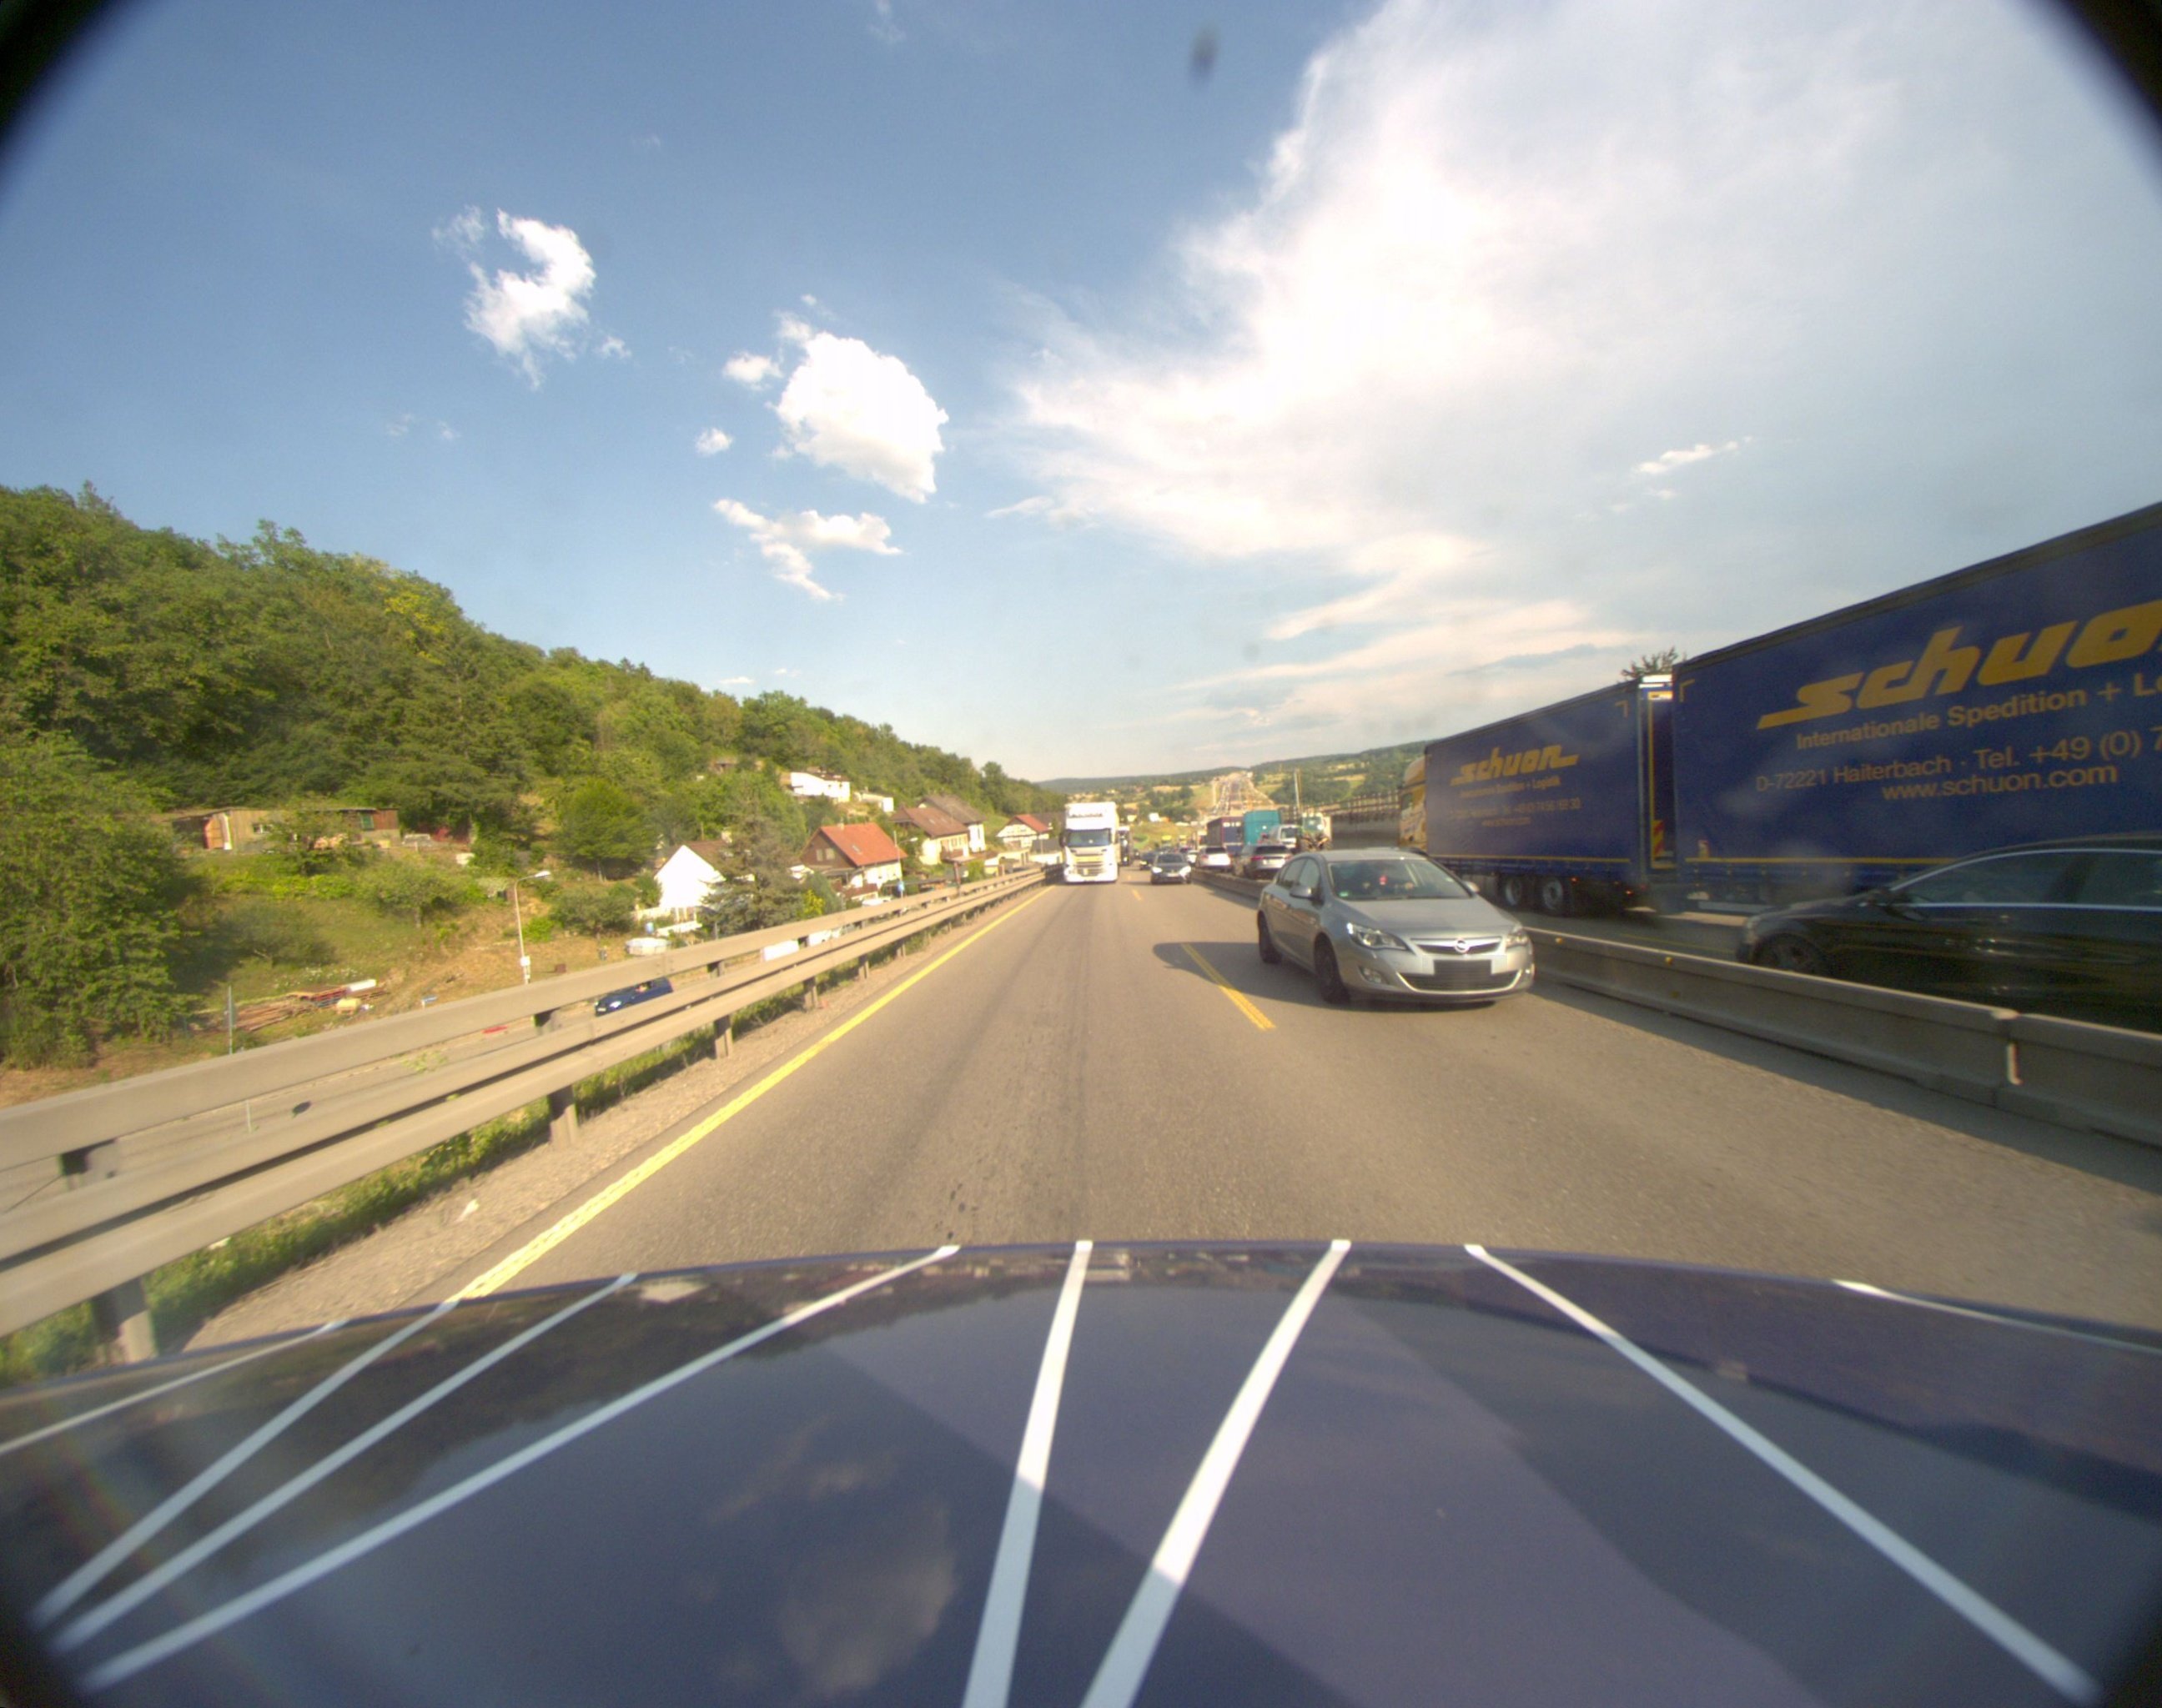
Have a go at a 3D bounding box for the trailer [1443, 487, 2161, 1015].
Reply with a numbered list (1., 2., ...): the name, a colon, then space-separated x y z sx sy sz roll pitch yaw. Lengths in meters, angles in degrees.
1. trailer: 9.898 -0.922 9.937 2.721 4.111 16.749 -1 1 1

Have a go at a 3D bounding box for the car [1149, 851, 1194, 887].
1. car: 4.070 0.620 34.592 1.822 1.433 4.001 -3 0 5

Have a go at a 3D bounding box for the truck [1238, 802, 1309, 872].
1. truck: 11.272 -0.994 45.250 2.755 3.784 7.112 -1 1 3

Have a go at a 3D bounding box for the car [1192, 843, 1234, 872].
1. car: 8.338 0.181 48.291 1.964 1.635 4.847 -1 1 2

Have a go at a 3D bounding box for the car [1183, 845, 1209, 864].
1. car: 9.743 -0.013 64.753 1.807 1.513 4.817 0 1 4

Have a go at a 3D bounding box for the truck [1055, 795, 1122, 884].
1. truck: 0.704 -0.832 41.838 2.892 4.059 13.893 -1 1 3

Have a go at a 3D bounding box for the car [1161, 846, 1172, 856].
1. car: 14.987 -0.525 132.932 1.778 1.448 4.815 -3 2 6

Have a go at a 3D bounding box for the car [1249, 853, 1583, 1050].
1. car: 3.140 0.782 8.138 1.810 1.478 4.118 -2 1 1

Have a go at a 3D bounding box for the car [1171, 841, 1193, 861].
1. car: 10.505 -0.310 79.355 1.827 1.922 5.130 1 2 3

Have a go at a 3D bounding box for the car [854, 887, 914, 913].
1. car: -19.995 4.654 77.142 5.475 2.251 2.001 -3 3 12

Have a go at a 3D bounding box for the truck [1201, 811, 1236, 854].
1. truck: 13.420 -2.095 74.726 2.755 4.091 5.031 -1 1 3

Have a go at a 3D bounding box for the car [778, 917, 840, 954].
1. car: -20.151 6.002 56.510 1.865 1.975 5.054 -1 3 12

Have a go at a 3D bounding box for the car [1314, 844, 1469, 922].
1. car: 6.980 0.554 17.688 1.792 1.489 4.724 -1 1 2

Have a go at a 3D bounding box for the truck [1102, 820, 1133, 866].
1. truck: 3.974 -1.149 80.793 2.787 4.505 7.192 -3 0 4

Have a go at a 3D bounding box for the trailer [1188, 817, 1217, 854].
1. trailer: 15.343 -2.296 96.359 2.917 4.440 7.153 -2 1 5

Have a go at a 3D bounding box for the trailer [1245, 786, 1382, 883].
1. trailer: 10.897 -0.881 37.979 2.755 3.794 16.047 -1 1 3

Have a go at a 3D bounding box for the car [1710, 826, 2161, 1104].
1. car: 6.628 0.567 4.627 1.801 1.445 4.614 -1 1 1

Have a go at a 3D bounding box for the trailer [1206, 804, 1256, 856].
1. trailer: 12.923 -1.968 66.608 2.721 4.099 12.493 0 1 4

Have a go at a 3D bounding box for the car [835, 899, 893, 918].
1. car: -20.948 5.295 73.541 5.098 1.548 1.716 -2 3 12

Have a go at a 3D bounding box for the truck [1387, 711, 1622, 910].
1. truck: 10.098 -0.980 18.912 2.708 4.117 5.793 -1 2 1

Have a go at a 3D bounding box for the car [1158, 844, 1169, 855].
1. car: 13.685 -0.725 126.343 1.770 1.542 4.479 -3 2 6

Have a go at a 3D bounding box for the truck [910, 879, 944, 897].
1. truck: -17.637 3.924 87.115 2.002 1.729 3.990 -11 5 -37

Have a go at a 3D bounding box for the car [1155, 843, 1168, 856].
1. car: 12.264 -0.701 115.980 1.866 1.577 4.746 -5 2 6

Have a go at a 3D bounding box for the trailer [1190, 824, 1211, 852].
1. trailer: 19.385 -2.657 123.934 2.781 4.179 13.836 -1 1 6

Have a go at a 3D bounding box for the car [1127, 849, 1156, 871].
1. car: 4.755 0.412 60.163 1.998 1.565 3.999 -1 1 1

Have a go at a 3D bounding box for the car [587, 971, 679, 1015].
1. car: -23.034 7.109 39.176 1.770 1.588 3.623 -5 -1 23

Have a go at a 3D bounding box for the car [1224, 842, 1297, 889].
1. car: 7.112 0.393 30.527 1.931 1.692 4.690 -1 1 2

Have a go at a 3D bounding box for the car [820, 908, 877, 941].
1. car: -18.737 5.659 61.499 1.998 1.907 4.866 -1 3 15
